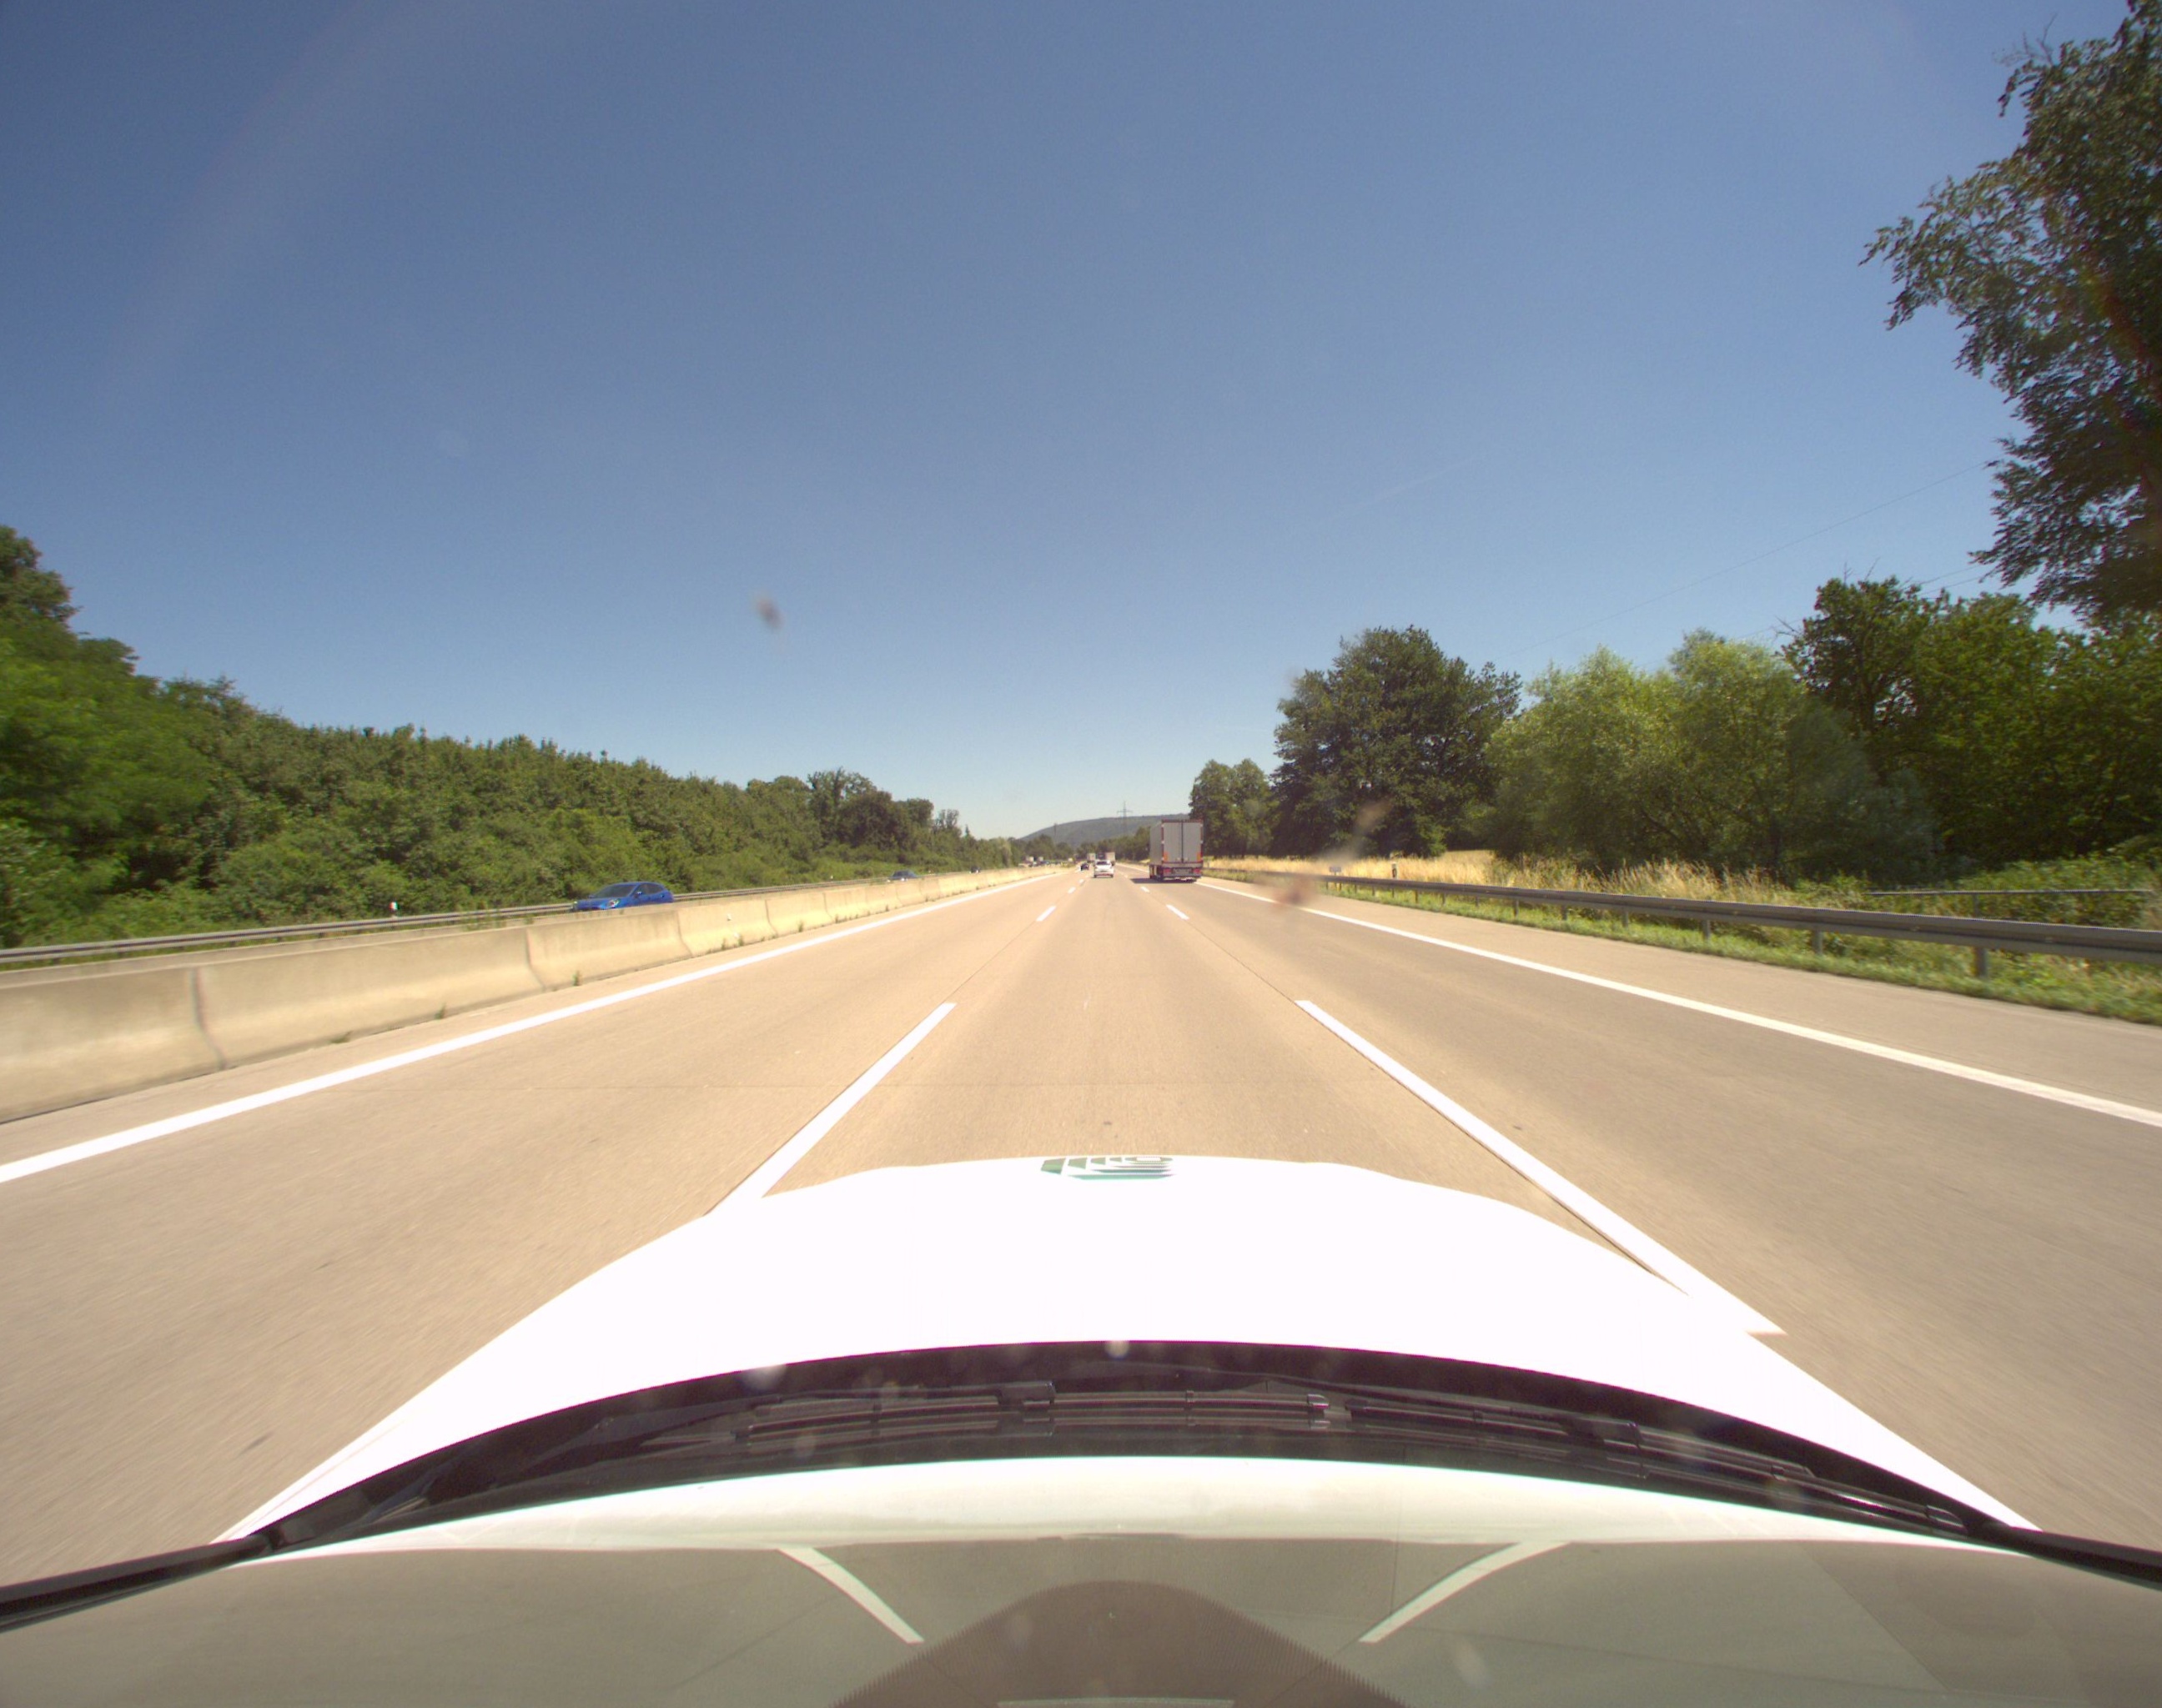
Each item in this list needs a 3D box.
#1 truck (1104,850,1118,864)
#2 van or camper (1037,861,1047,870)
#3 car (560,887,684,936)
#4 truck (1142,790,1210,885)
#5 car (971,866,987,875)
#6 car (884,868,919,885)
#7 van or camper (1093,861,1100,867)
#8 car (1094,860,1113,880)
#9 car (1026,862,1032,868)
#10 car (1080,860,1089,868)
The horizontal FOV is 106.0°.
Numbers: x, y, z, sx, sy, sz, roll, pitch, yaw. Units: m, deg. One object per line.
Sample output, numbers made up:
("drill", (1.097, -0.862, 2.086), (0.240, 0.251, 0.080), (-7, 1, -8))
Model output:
("truck", (9.560, 1.037, 260.162), (3.808, 3.889, 14.149), (-5, 0, 0))
("van or camper", (-8.561, 2.476, 179.491), (1.841, 1.882, 4.417), (-2, -1, 1))
("car", (-15.869, 1.947, 28.451), (1.703, 1.385, 4.508), (-1, 0, 0))
("truck", (6.526, -1.028, 59.254), (3.562, 5.787, 18.260), (-1, 0, 3))
("car", (-16.443, 2.598, 131.280), (1.920, 1.376, 4.002), (-2, -1, 2))
("car", (-14.636, 1.813, 66.589), (1.671, 1.315, 4.860), (-1, 0, 0))
("van or camper", (4.825, 3.080, 258.093), (1.862, 1.837, 3.998), (-5, 0, -1))
("car", (1.960, 1.349, 71.438), (1.635, 1.662, 3.361), (0, 0, 1))
("car", (-16.298, 3.521, 255.694), (1.697, 1.658, 4.089), (-2, -1, 0))
("car", (0.731, 2.136, 178.097), (2.016, 1.700, 3.998), (0, 0, -1))
